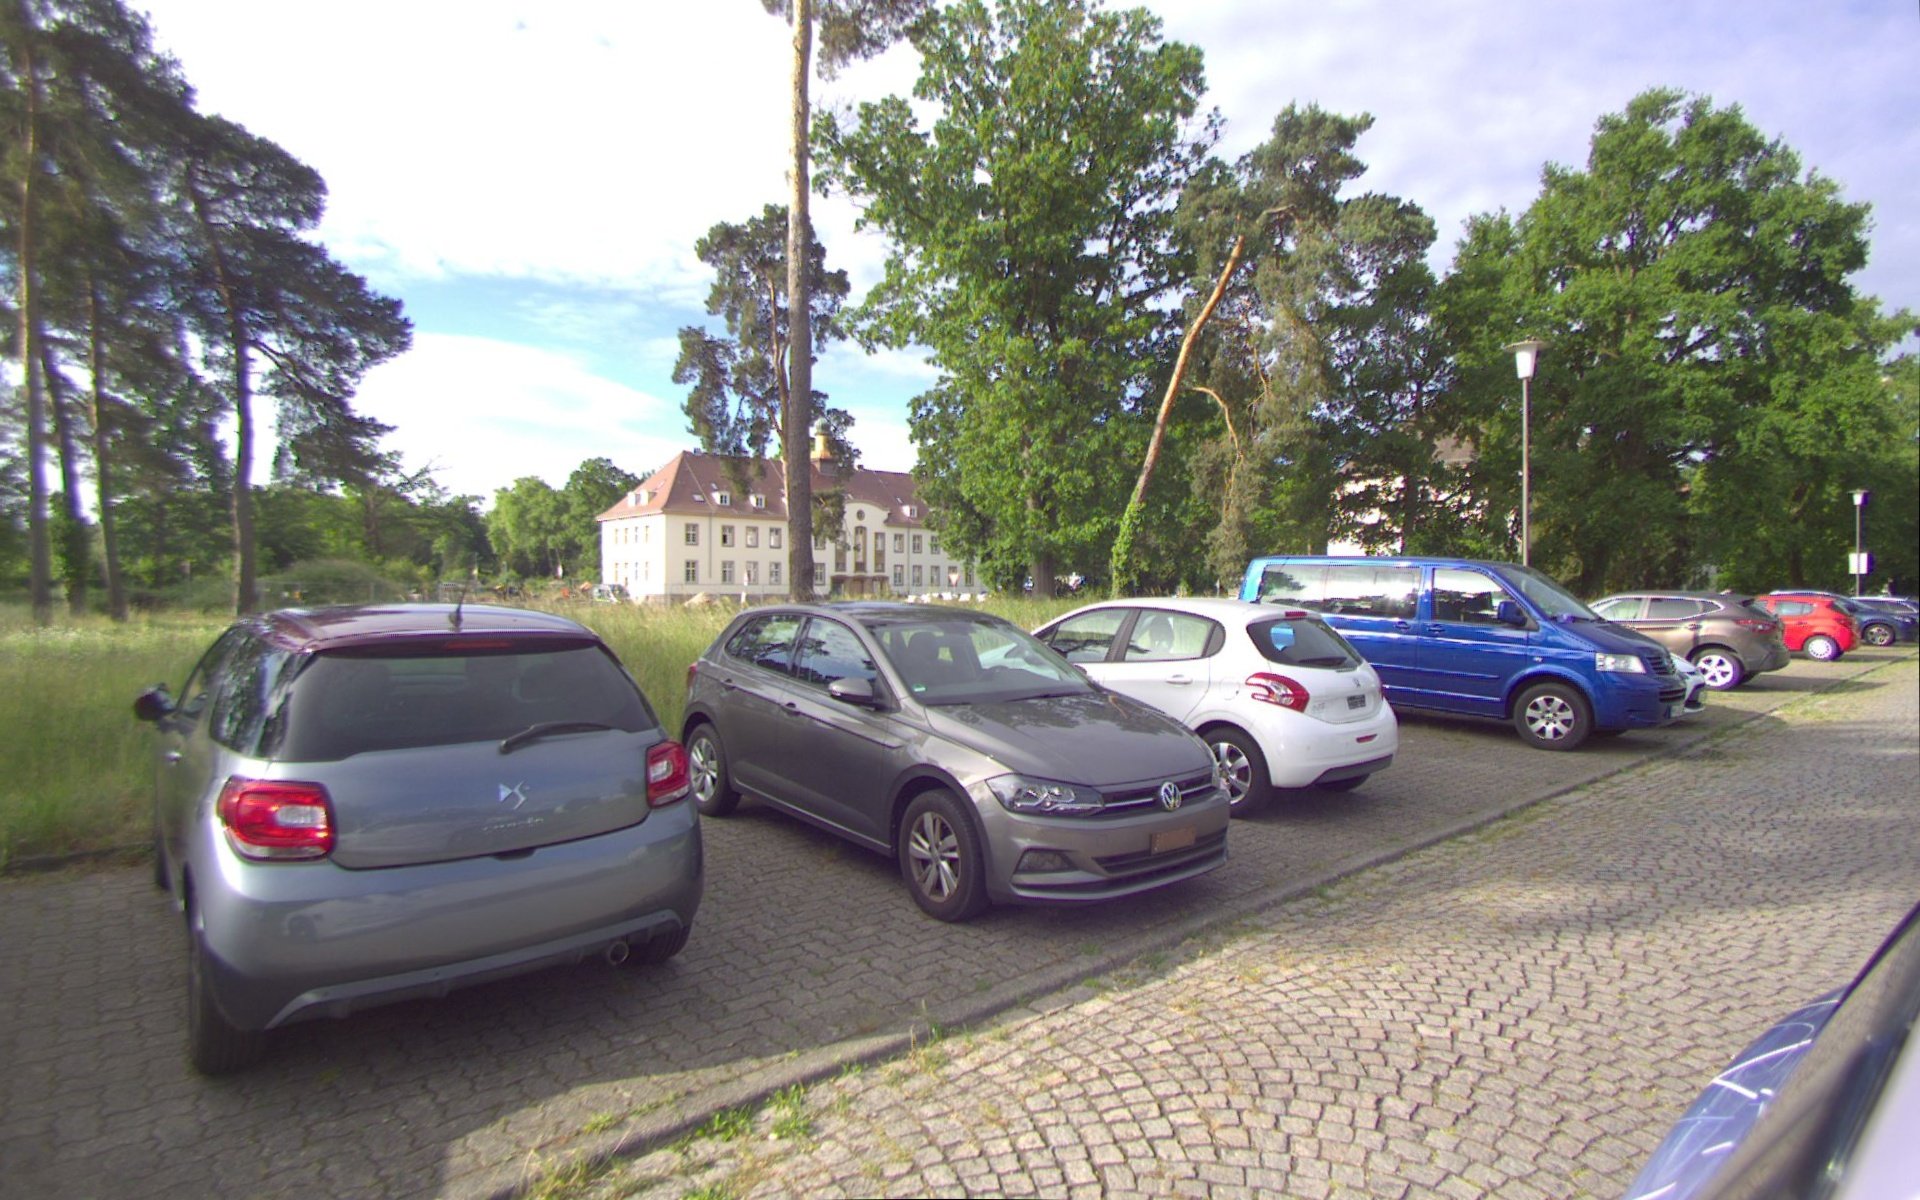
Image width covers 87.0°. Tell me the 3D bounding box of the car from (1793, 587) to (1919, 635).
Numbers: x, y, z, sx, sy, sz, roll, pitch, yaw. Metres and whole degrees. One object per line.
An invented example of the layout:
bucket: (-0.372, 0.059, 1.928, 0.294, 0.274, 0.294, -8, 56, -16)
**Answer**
car: (30.783, 0.344, 34.024, 1.751, 1.468, 4.035, -1, 2, -39)

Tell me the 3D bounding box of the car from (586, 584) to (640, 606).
car: (-33.643, -0.539, 97.993, 5.643, 2.039, 2.593, 0, 1, 42)

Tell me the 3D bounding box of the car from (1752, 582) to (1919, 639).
car: (27.162, 0.281, 31.156, 1.717, 1.588, 4.132, -1, 2, -42)

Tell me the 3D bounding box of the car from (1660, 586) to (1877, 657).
car: (19.516, 0.456, 24.546, 1.658, 1.491, 3.883, -1, 2, -42)

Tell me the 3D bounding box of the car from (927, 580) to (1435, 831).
car: (1.622, 0.628, 8.460, 1.776, 1.549, 3.881, -1, 2, -41)

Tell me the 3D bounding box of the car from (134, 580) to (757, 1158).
car: (-2.719, 0.686, 4.797, 1.741, 1.513, 3.958, -1, 2, -41)

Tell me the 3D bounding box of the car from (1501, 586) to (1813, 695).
car: (12.075, 0.589, 17.736, 1.846, 1.608, 4.196, -1, 2, -42)

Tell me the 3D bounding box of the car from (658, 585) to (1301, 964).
car: (-0.169, 0.688, 6.239, 1.799, 1.485, 3.958, -1, 2, -41)

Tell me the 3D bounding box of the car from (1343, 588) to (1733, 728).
car: (7.518, 0.620, 13.456, 1.779, 1.488, 4.193, -1, 2, -45)

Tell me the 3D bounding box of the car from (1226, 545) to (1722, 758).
car: (5.705, 0.366, 11.778, 1.958, 1.952, 4.741, -1, 3, -42)
